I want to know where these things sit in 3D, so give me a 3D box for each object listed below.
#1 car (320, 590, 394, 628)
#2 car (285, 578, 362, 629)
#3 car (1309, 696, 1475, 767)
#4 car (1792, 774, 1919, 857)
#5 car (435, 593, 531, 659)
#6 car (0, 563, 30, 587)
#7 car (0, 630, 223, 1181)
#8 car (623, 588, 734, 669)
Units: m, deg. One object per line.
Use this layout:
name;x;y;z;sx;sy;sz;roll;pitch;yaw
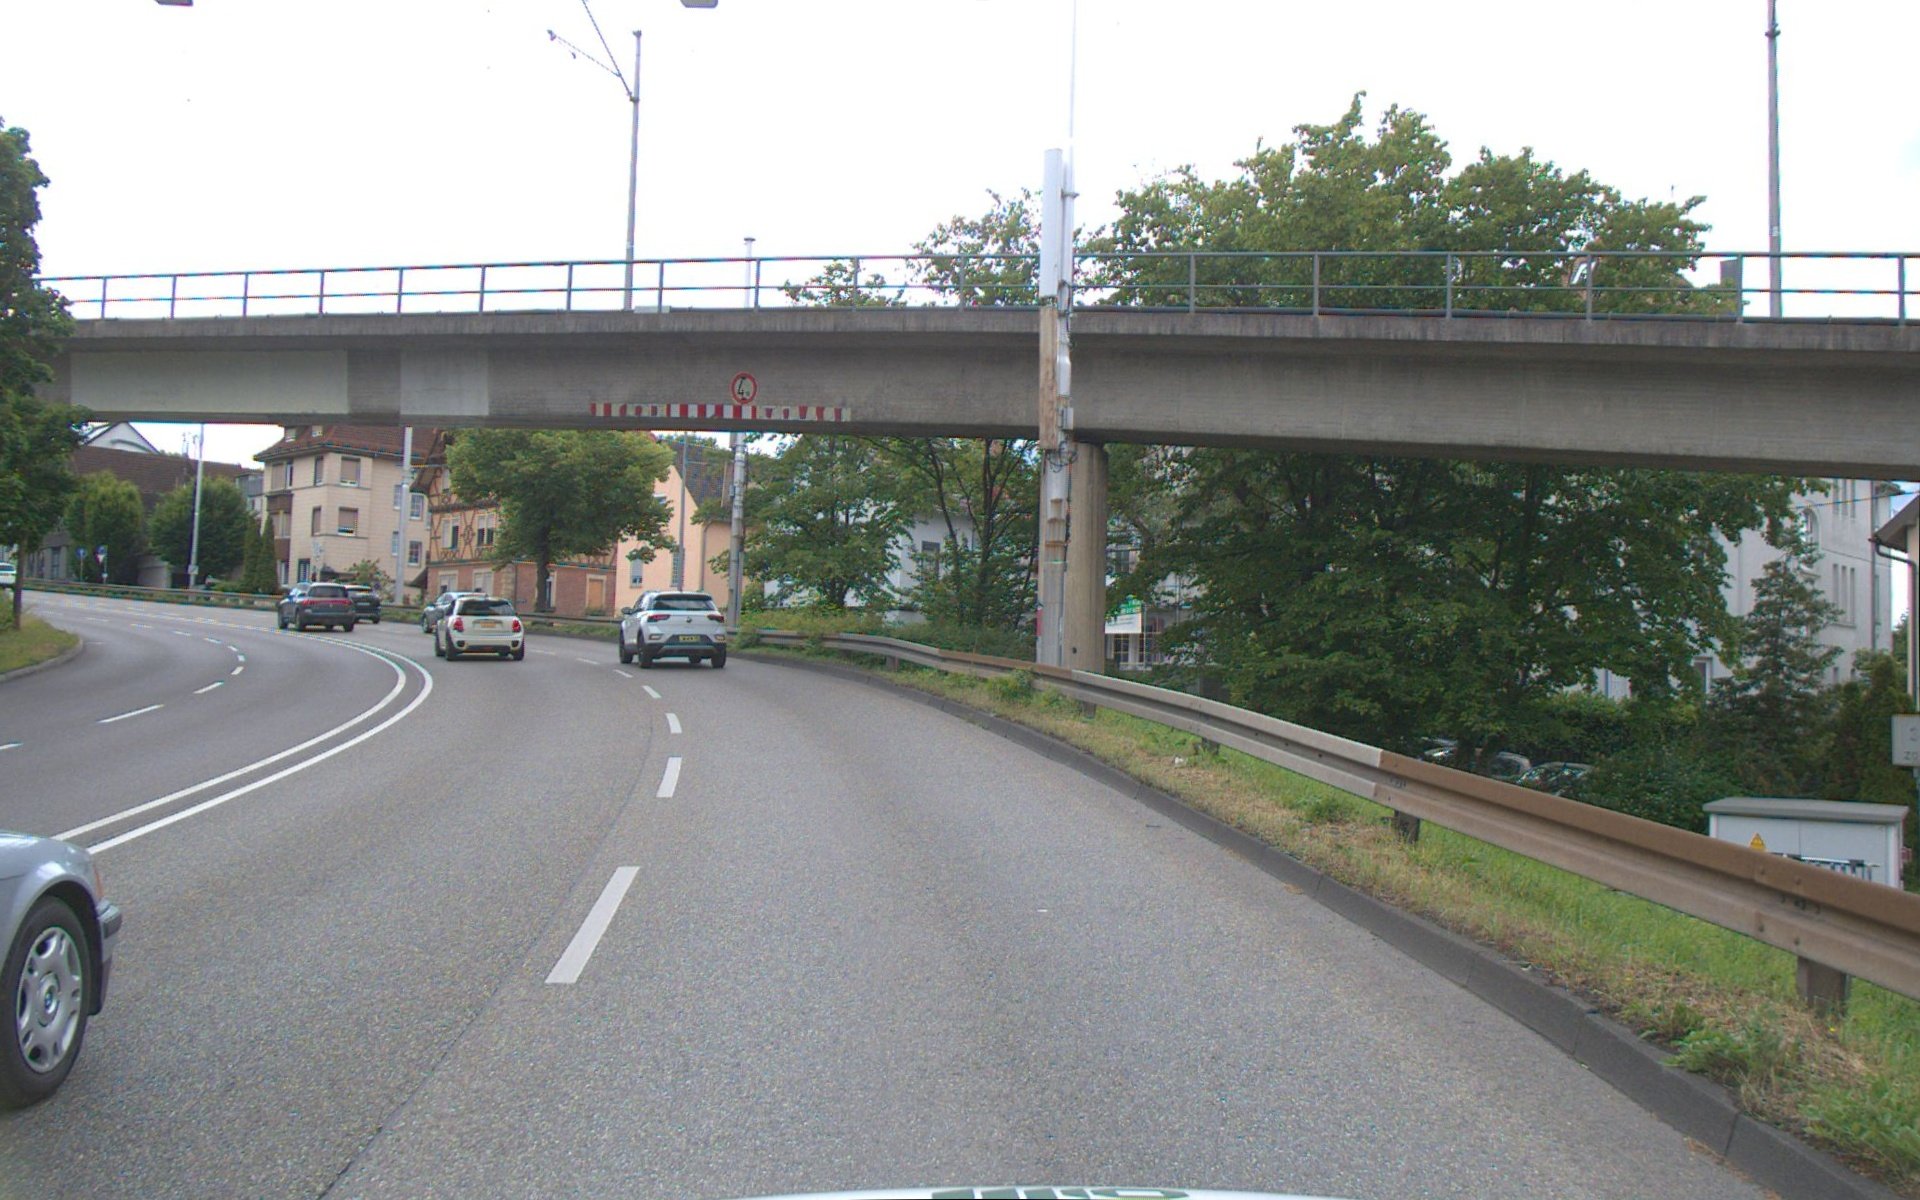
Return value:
car;-24.233;0.358;66.409;1.713;1.400;3.405;1;1;-41
car;-21.890;0.098;56.856;1.708;1.668;3.415;1;1;-35
car;11.563;3.500;44.439;3.959;1.473;1.614;4;-1;42
car;20.437;4.752;36.142;3.704;1.419;1.641;4;-1;42
car;-11.067;0.571;38.241;1.700;1.400;3.432;1;1;-23
car;-58.143;-1.535;100.812;1.715;1.400;3.400;1;1;-44
car;-3.296;0.835;3.448;1.602;1.407;4.618;1;1;-3
car;-5.951;0.570;34.687;1.770;1.545;3.438;1;1;-19
